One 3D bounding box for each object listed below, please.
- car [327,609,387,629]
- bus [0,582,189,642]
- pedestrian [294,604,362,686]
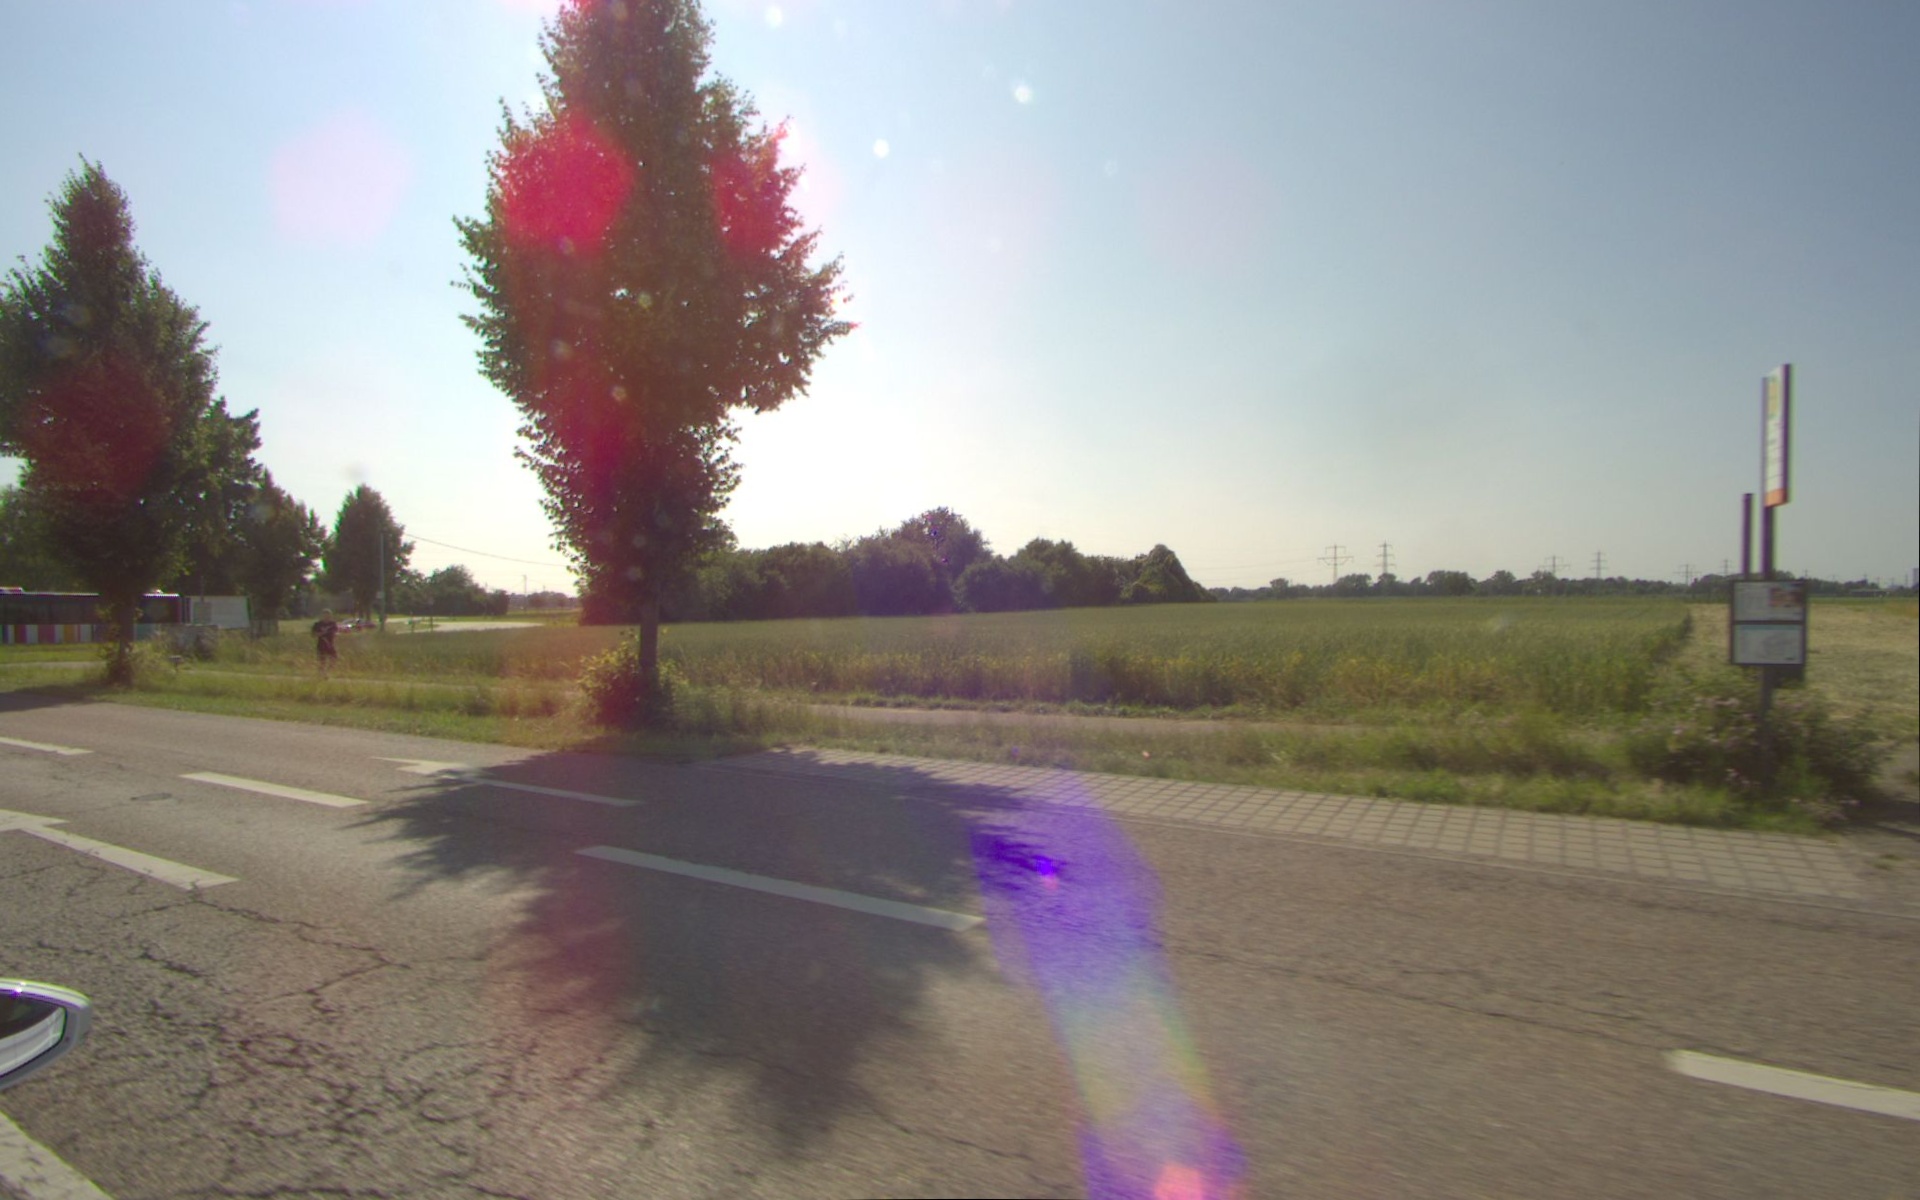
[{"bbox_3d":[-45.238,1.430,75.220,1.649,1.416,3.997,0,0,11],"label":"car"},{"bbox_3d":[-47.139,0.576,51.817,2.889,2.915,11.957,-1,0,17],"label":"bus"},{"bbox_3d":[-14.817,1.024,23.493,1.177,1.864,0.900,0,1,30],"label":"pedestrian"}]
